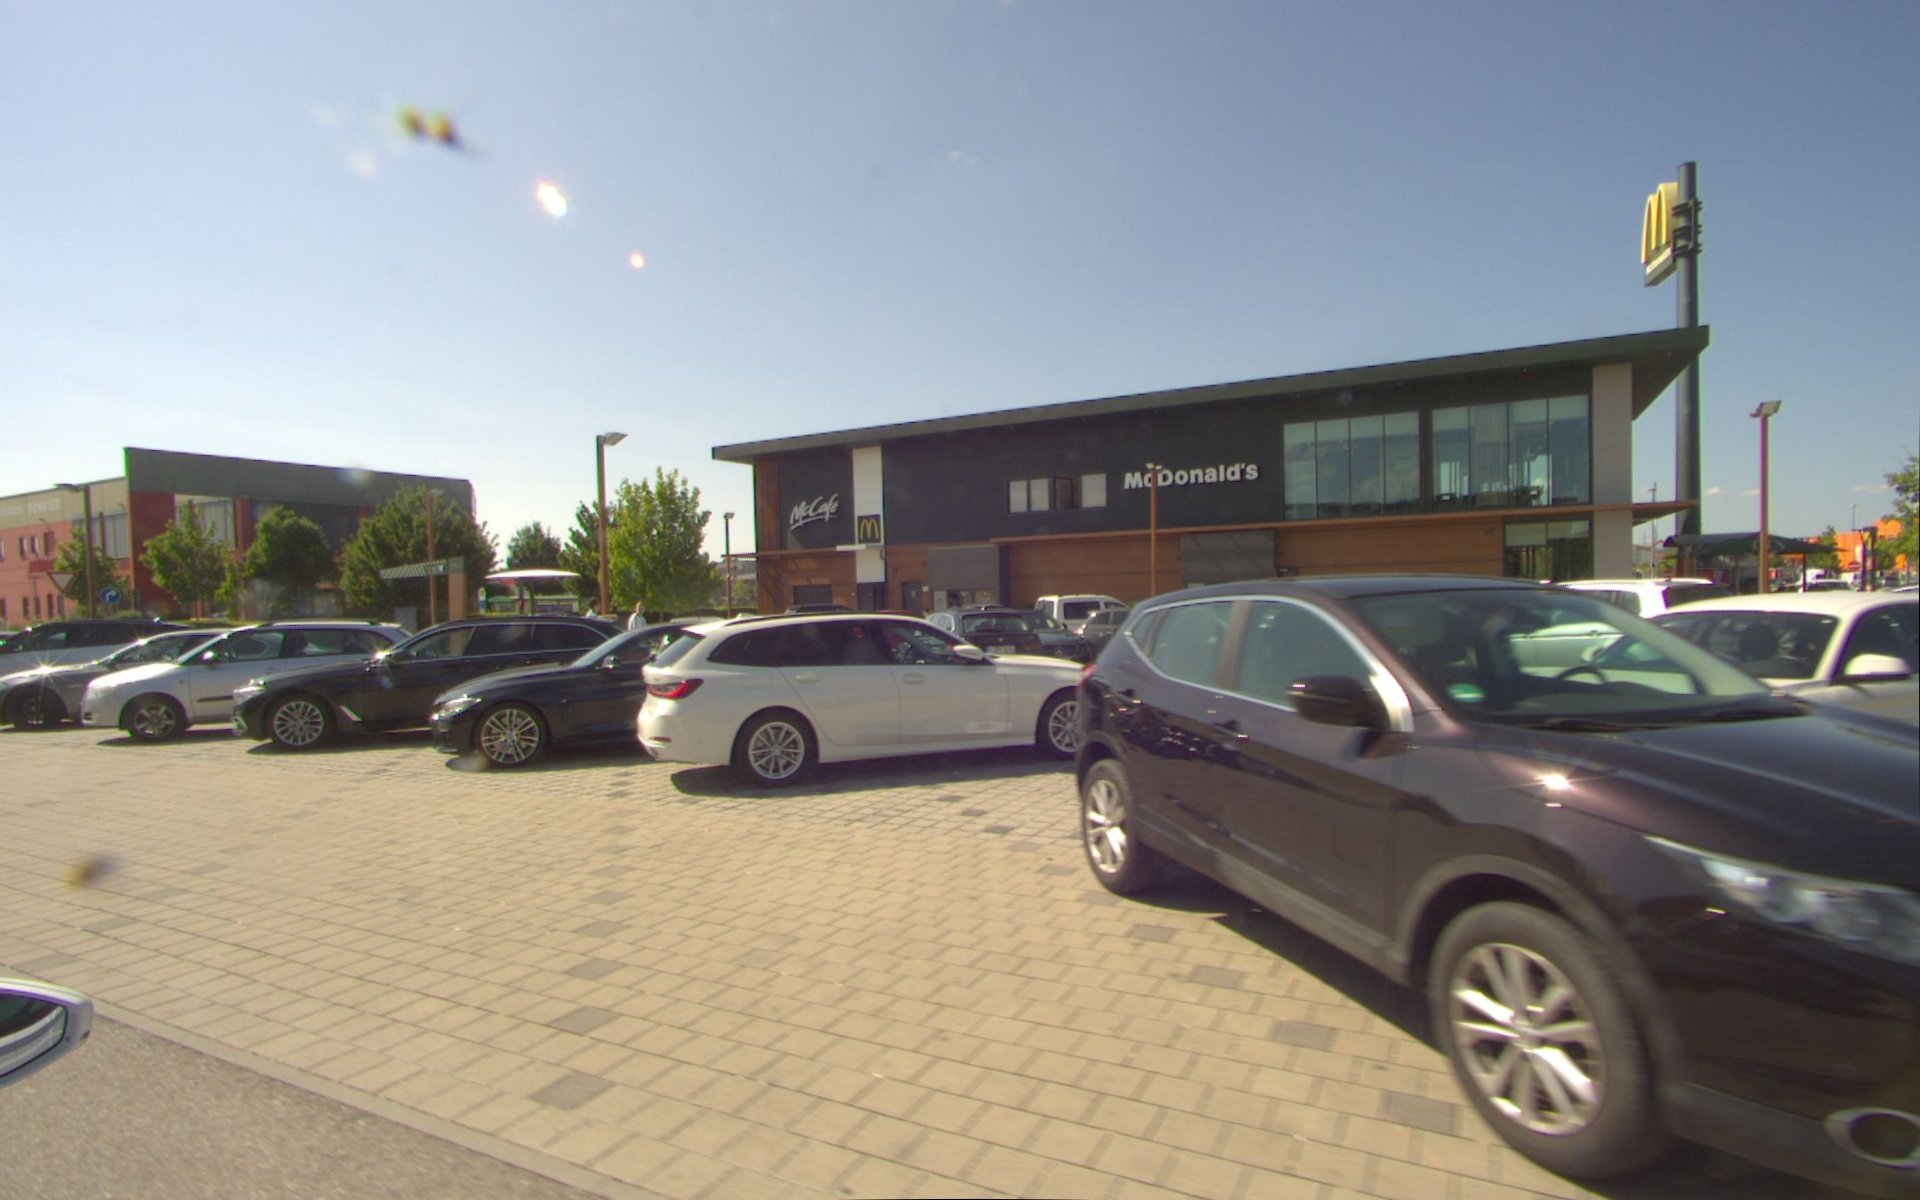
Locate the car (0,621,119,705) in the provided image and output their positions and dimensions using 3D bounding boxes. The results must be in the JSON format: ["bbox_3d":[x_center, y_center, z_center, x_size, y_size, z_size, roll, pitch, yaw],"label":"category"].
[{"bbox_3d":[-19.204,1.229,19.336,4.141,1.546,1.968,-1,0,-26],"label":"car"}]

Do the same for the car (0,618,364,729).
[{"bbox_3d":[-12.643,1.102,16.333,4.768,1.546,1.968,-1,0,-25],"label":"car"}]

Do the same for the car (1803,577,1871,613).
[{"bbox_3d":[41.465,-0.227,47.431,1.738,1.582,3.864,-1,0,31],"label":"car"}]

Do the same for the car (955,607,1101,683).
[{"bbox_3d":[1.426,0.956,23.070,1.862,1.506,4.637,-2,0,-16],"label":"car"}]

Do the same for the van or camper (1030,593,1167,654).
[{"bbox_3d":[4.399,0.724,31.783,3.959,1.798,1.707,-1,0,-20],"label":"van or camper"}]

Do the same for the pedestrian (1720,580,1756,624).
[{"bbox_3d":[27.889,0.078,35.908,0.708,1.580,0.702,-1,0,-1],"label":"pedestrian"}]

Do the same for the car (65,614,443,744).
[{"bbox_3d":[-9.845,1.009,14.356,4.150,1.546,1.964,-1,0,-33],"label":"car"}]

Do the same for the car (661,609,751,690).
[{"bbox_3d":[-5.536,0.990,21.599,1.681,1.512,4.108,-2,0,-16],"label":"car"}]

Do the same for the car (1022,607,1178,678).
[{"bbox_3d":[3.803,1.125,27.156,3.892,1.798,1.649,-1,0,23],"label":"car"}]

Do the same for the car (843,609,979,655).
[{"bbox_3d":[-1.716,1.104,35.357,4.397,1.485,1.955,-1,0,-26],"label":"car"}]

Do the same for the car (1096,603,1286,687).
[{"bbox_3d":[4.674,0.861,21.063,1.862,1.506,4.637,-2,0,-16],"label":"car"}]

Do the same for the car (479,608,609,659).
[{"bbox_3d":[-15.229,1.191,36.906,1.964,1.713,4.223,0,0,23],"label":"car"}]

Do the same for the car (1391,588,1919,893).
[{"bbox_3d":[5.182,0.682,6.513,4.135,1.479,1.971,-1,0,-20],"label":"car"}]

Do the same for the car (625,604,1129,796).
[{"bbox_3d":[-0.816,0.815,9.641,4.506,1.479,1.832,-1,0,-20],"label":"car"}]

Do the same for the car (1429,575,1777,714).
[{"bbox_3d":[9.081,0.573,14.607,1.781,1.696,4.108,-2,0,-16],"label":"car"}]

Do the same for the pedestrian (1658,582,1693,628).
[{"bbox_3d":[24.873,0.174,34.831,0.708,1.580,0.702,-1,0,-1],"label":"pedestrian"}]

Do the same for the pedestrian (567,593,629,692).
[{"bbox_3d":[-7.076,0.821,19.573,0.820,1.874,0.768,-1,0,25],"label":"pedestrian"}]

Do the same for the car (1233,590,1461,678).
[{"bbox_3d":[7.591,0.630,20.218,1.862,1.506,4.637,-2,0,-16],"label":"car"}]

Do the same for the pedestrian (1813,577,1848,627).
[{"bbox_3d":[27.792,0.064,31.988,0.691,1.580,0.719,-1,1,28],"label":"pedestrian"}]

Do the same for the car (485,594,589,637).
[{"bbox_3d":[-22.940,0.844,54.474,1.969,2.226,5.084,-1,0,28],"label":"car"}]

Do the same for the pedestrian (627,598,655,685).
[{"bbox_3d":[-6.709,0.861,21.060,0.460,1.792,0.551,-1,0,-25],"label":"pedestrian"}]

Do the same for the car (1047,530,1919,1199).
[{"bbox_3d":[1.980,0.674,3.987,1.824,1.612,4.295,-1,0,-16],"label":"car"}]

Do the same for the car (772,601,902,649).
[{"bbox_3d":[-4.553,0.888,37.026,4.394,1.623,1.956,-1,0,-23],"label":"car"}]

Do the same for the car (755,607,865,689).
[{"bbox_3d":[-3.313,0.953,21.461,1.781,1.535,4.108,-2,0,-16],"label":"car"}]

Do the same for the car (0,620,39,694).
[{"bbox_3d":[-22.485,1.251,20.948,4.257,1.546,1.971,-1,0,-18],"label":"car"}]

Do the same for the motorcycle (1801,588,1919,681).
[{"bbox_3d":[14.051,0.494,14.991,0.752,1.342,2.156,-1,0,-18],"label":"motorcycle"}]

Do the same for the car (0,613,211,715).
[{"bbox_3d":[-16.113,1.098,17.904,4.148,1.676,1.964,-1,0,-32],"label":"car"}]

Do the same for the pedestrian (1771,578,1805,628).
[{"bbox_3d":[26.628,0.084,32.215,0.691,1.580,0.719,-1,1,28],"label":"pedestrian"}]

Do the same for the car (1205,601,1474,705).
[{"bbox_3d":[5.963,0.778,16.302,1.783,1.432,4.103,-2,0,-22],"label":"car"}]

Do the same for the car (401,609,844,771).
[{"bbox_3d":[-3.626,0.873,11.151,4.298,1.479,1.831,-1,0,-22],"label":"car"}]

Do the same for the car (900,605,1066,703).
[{"bbox_3d":[0.274,0.885,18.129,1.781,1.506,4.273,-2,0,-16],"label":"car"}]

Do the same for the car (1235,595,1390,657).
[{"bbox_3d":[10.040,0.720,28.541,3.966,1.634,1.713,-1,0,-19],"label":"car"}]

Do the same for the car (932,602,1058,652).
[{"bbox_3d":[1.182,0.878,33.678,3.885,1.535,1.709,-1,0,-23],"label":"car"}]

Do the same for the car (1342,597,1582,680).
[{"bbox_3d":[10.335,0.745,21.073,1.862,1.506,4.637,-2,0,-16],"label":"car"}]

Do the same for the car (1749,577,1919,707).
[{"bbox_3d":[12.417,0.500,12.304,1.724,1.572,3.991,-1,0,-19],"label":"car"}]

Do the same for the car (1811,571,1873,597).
[{"bbox_3d":[83.742,-1.463,95.117,3.935,2.333,1.993,-1,0,25],"label":"car"}]

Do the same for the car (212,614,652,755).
[{"bbox_3d":[-6.509,0.971,12.988,4.702,1.506,1.970,-1,0,-20],"label":"car"}]
